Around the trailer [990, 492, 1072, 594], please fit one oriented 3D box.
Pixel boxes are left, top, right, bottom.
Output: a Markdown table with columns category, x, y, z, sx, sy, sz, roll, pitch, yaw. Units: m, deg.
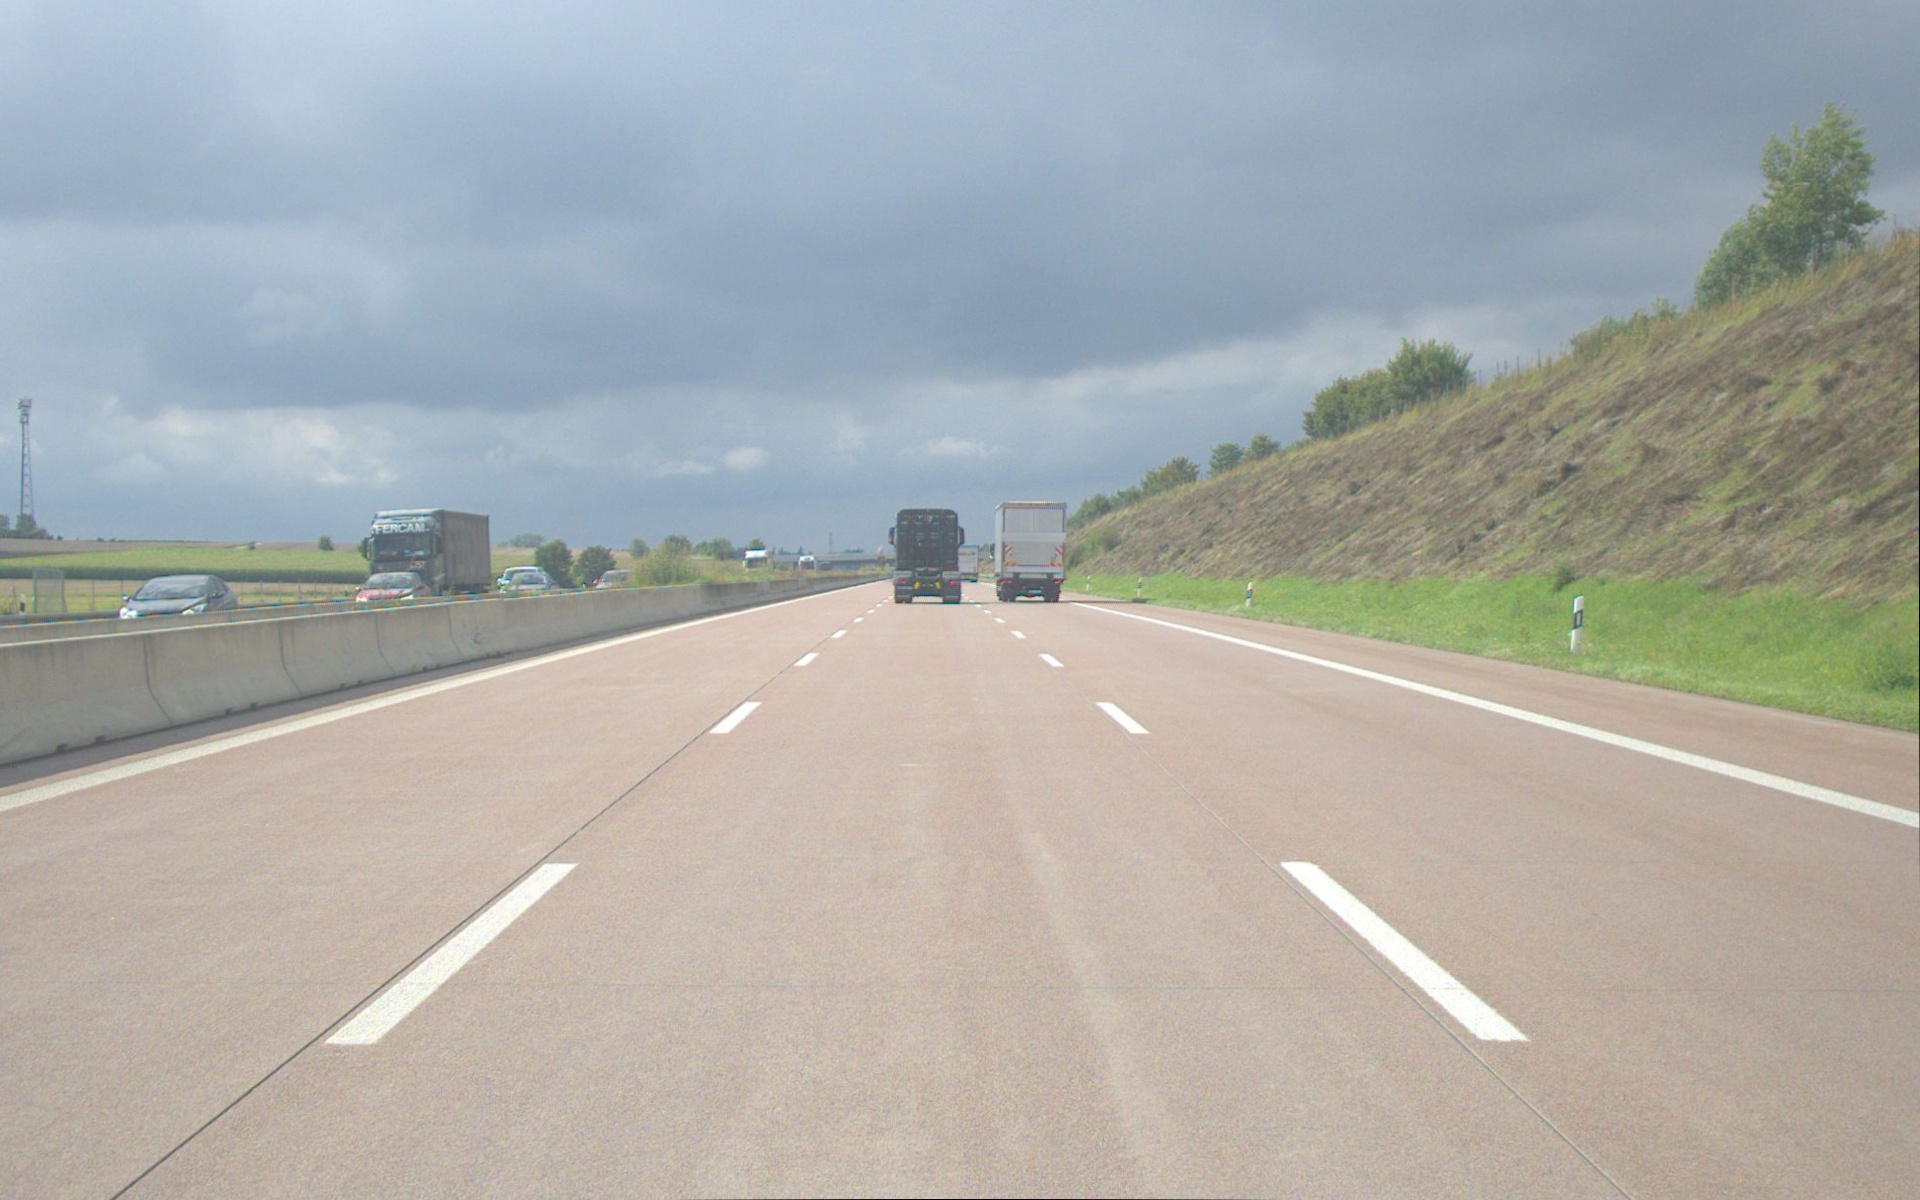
| category | x | y | z | sx | sy | sz | roll | pitch | yaw |
| --- | --- | --- | --- | --- | --- | --- | --- | --- | --- |
| trailer | 2.825 | -2.264 | 139.474 | 2.747 | 3.998 | 8.671 | 0 | 0 | -2 |

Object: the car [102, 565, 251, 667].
| category | x | y | z | sx | sy | sz | roll | pitch | yaw |
| --- | --- | --- | --- | --- | --- | --- | --- | --- | --- |
| car | -16.257 | 0.308 | 71.555 | 1.986 | 2.007 | 5.052 | 1 | 0 | -1 |

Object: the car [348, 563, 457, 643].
| category | x | y | z | sx | sy | sz | roll | pitch | yaw |
| --- | --- | --- | --- | --- | --- | --- | --- | --- | --- |
| car | -8.477 | 0.027 | 52.391 | 1.222 | 1.148 | 2.758 | 1 | 1 | -1 |

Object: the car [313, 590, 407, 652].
| category | x | y | z | sx | sy | sz | roll | pitch | yaw |
| --- | --- | --- | --- | --- | --- | --- | --- | --- | --- |
| car | -17.198 | 0.588 | 98.672 | 1.972 | 1.656 | 4.491 | 1 | 1 | -1 |

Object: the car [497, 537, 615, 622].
| category | x | y | z | sx | sy | sz | roll | pitch | yaw |
| --- | --- | --- | --- | --- | --- | --- | --- | --- | --- |
| car | -8.263 | -0.447 | 70.580 | 1.972 | 1.656 | 4.082 | 1 | 1 | -1 |

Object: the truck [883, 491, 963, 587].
| category | x | y | z | sx | sy | sz | roll | pitch | yaw |
| --- | --- | --- | --- | --- | --- | --- | --- | --- | --- |
| truck | -1.463 | -2.280 | 131.327 | 2.847 | 3.537 | 8.320 | 0 | 0 | -2 |

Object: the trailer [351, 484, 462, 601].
| category | x | y | z | sx | sy | sz | roll | pitch | yaw |
| --- | --- | --- | --- | --- | --- | --- | --- | --- | --- |
| trailer | -20.807 | -2.175 | 129.475 | 3.007 | 4.233 | 7.009 | 1 | 1 | 0 |
